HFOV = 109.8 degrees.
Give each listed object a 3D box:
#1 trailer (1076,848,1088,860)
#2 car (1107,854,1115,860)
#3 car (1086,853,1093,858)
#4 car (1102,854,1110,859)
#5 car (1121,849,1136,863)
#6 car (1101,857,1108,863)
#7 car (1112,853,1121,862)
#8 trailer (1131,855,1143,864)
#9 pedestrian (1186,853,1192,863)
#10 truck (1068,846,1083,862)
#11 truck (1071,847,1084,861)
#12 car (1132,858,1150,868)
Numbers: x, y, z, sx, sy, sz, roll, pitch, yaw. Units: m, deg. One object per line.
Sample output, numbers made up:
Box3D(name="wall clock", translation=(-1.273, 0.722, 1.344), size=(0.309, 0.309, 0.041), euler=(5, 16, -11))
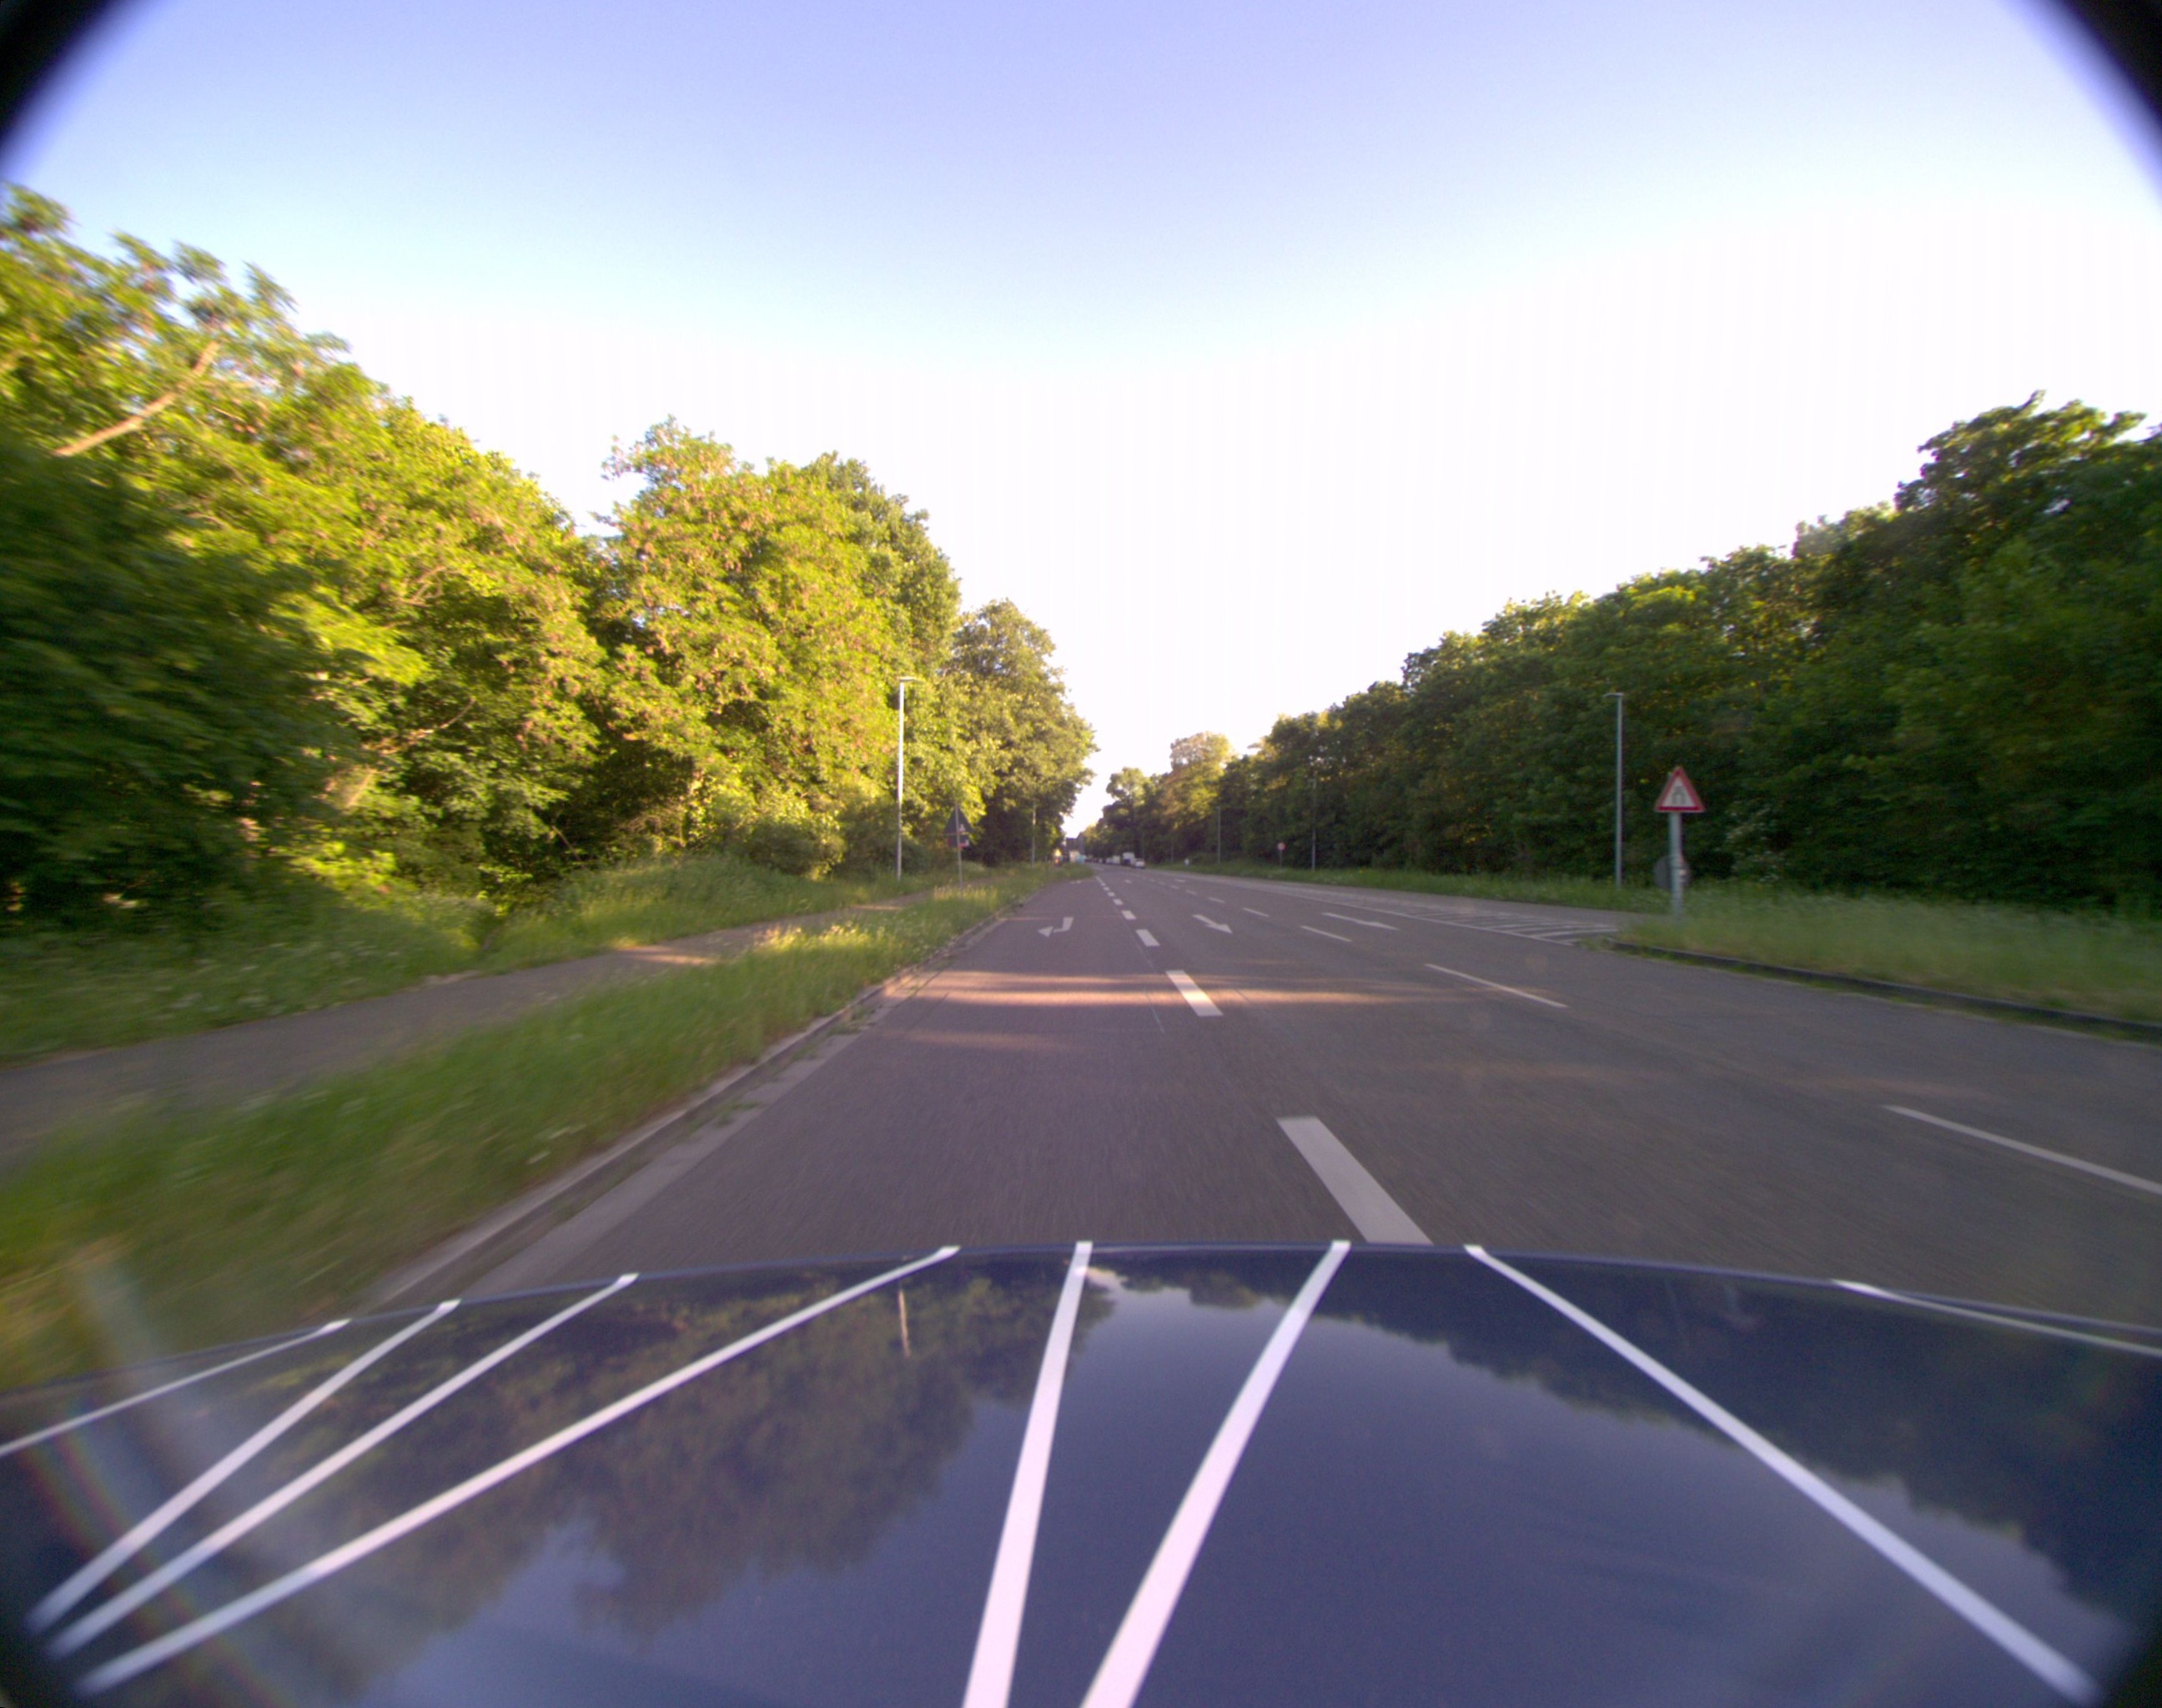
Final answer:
Box3D(name="trailer", translation=(0.219, -0.057, 136.801), size=(1.870, 2.165, 4.127), euler=(-1, 1, -3))
Box3D(name="car", translation=(8.115, 0.850, 203.528), size=(1.807, 1.496, 3.911), euler=(2, 0, -3))
Box3D(name="car", translation=(2.578, 0.399, 241.399), size=(1.915, 1.455, 4.356), euler=(2, 0, -3))
Box3D(name="car", translation=(7.249, 0.731, 219.362), size=(1.807, 1.496, 3.911), euler=(2, 0, -3))
Box3D(name="car", translation=(9.989, 0.388, 159.215), size=(2.461, 2.830, 4.797), euler=(2, 0, -3))
Box3D(name="car", translation=(7.085, 1.804, 231.118), size=(1.999, 2.002, 3.999), euler=(0, 0, -3))
Box3D(name="car", translation=(8.991, 0.892, 191.002), size=(1.692, 2.089, 4.631), euler=(2, 0, -3))
Box3D(name="trailer", translation=(10.815, 1.085, 147.085), size=(1.807, 1.719, 3.646), euler=(2, 0, -3))
Box3D(name="pedestrian", translation=(16.636, 0.646, 116.872), size=(0.713, 1.556, 0.826), euler=(1, 0, 0))
Box3D(name="truck", translation=(-1.147, -0.030, 163.385), size=(2.706, 3.218, 7.125), euler=(2, 0, -3))
Box3D(name="truck", translation=(-0.760, -0.006, 154.610), size=(2.390, 2.855, 5.596), euler=(-2, 1, -3))
Box3D(name="car", translation=(8.853, 1.302, 112.788), size=(1.834, 1.446, 4.478), euler=(3, 0, -5))
